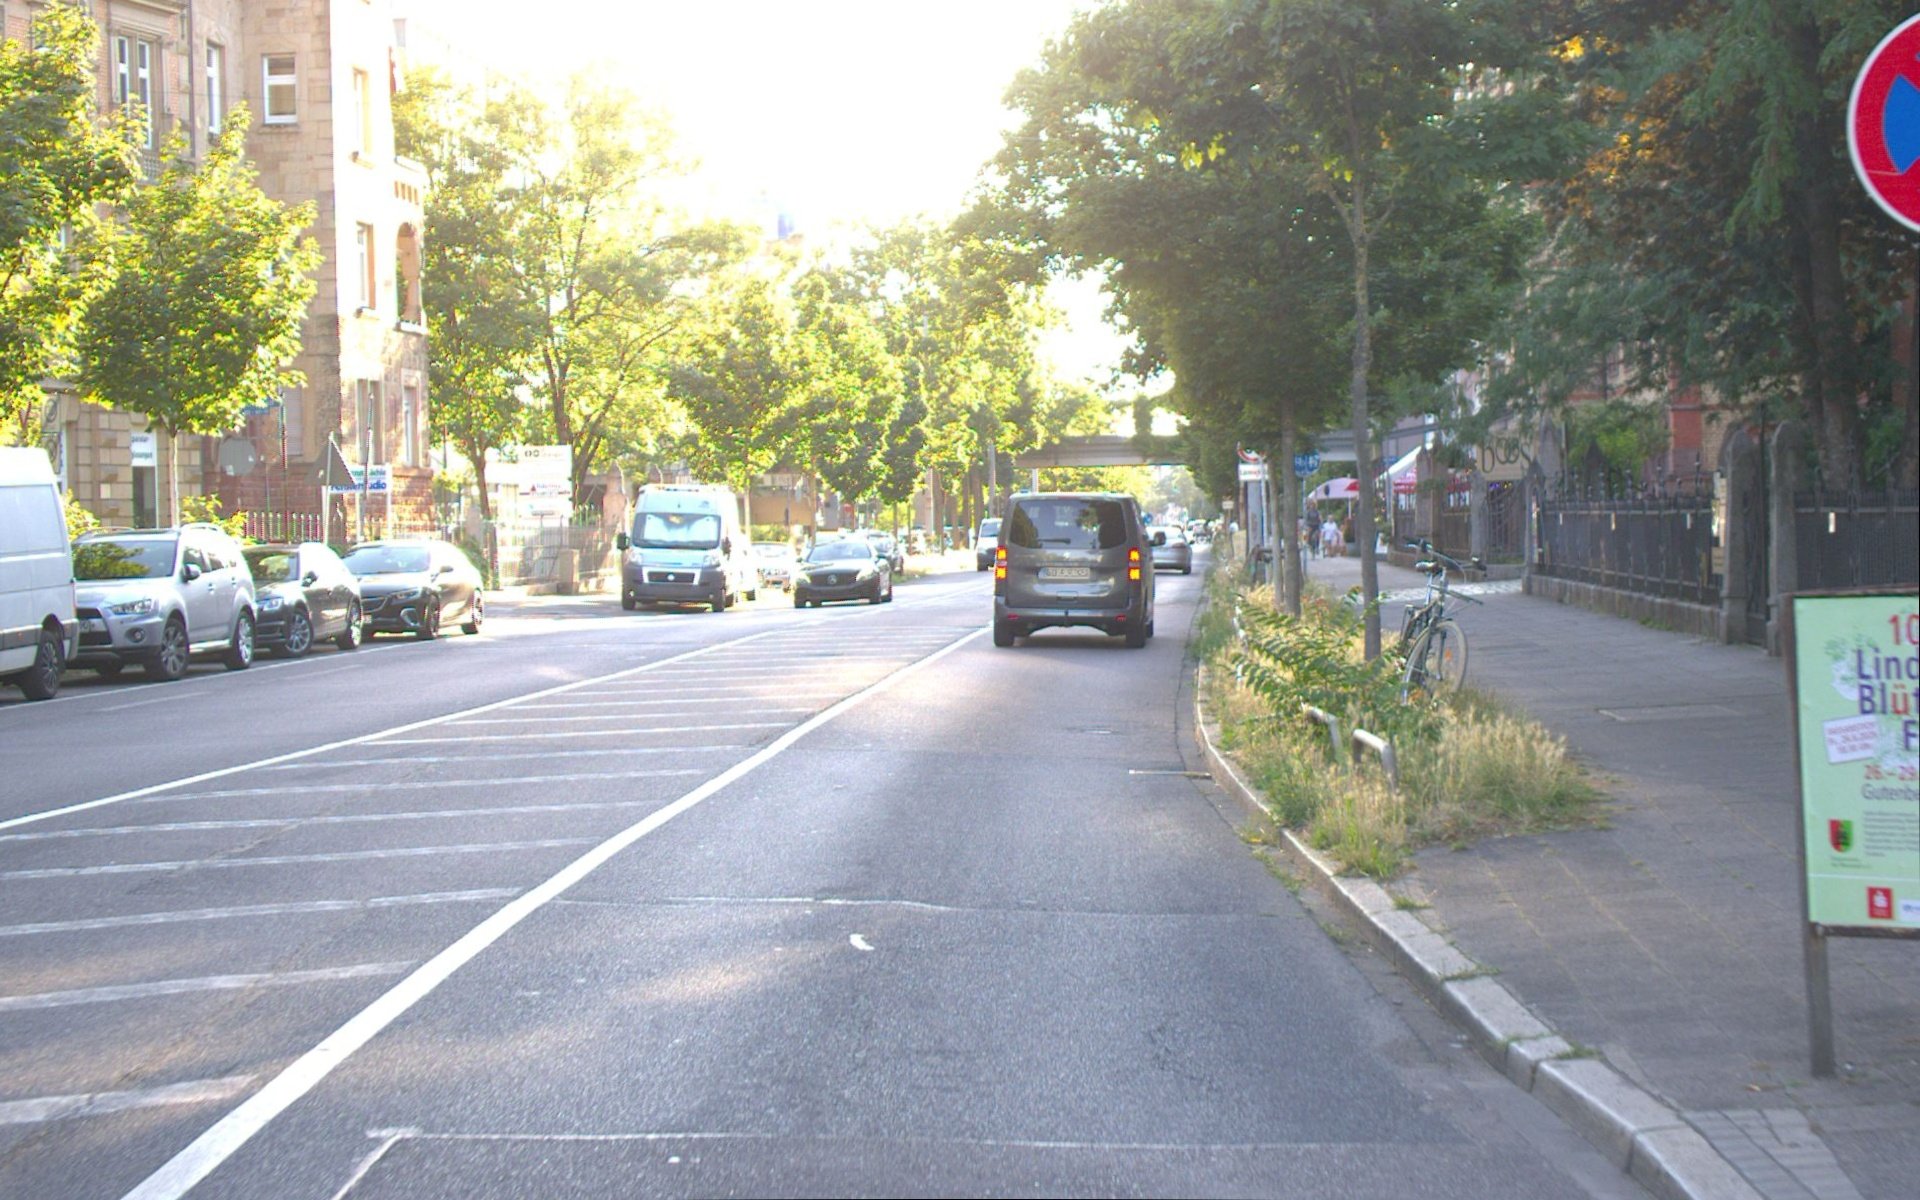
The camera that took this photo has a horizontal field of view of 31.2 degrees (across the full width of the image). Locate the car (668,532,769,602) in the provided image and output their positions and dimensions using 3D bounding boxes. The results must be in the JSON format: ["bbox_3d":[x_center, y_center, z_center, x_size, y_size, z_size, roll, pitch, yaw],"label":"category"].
[{"bbox_3d":[-5.475,-0.774,78.389,1.746,1.529,4.302,1,1,3],"label":"car"}]

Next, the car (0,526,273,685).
[{"bbox_3d":[-9.275,0.014,38.654,1.866,1.639,4.571,-2,1,4],"label":"car"}]

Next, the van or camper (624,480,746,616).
[{"bbox_3d":[-5.631,-1.089,71.149,1.993,2.659,6.039,1,1,0],"label":"van or camper"}]

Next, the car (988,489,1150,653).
[{"bbox_3d":[1.415,-0.395,43.194,1.887,1.918,3.839,-1,1,4],"label":"car"}]

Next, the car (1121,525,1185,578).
[{"bbox_3d":[6.200,-1.564,110.436,1.994,1.628,4.000,-1,1,3],"label":"car"}]

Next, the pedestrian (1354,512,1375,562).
[{"bbox_3d":[13.255,-2.075,112.621,0.644,1.627,0.656,1,1,5],"label":"pedestrian"}]

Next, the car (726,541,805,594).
[{"bbox_3d":[-4.808,-0.816,85.431,1.536,1.244,3.614,1,1,3],"label":"car"}]

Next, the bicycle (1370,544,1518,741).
[{"bbox_3d":[3.028,0.242,21.666,0.646,1.163,1.931,1,1,0],"label":"bicycle"}]

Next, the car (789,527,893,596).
[{"bbox_3d":[-2.515,-0.839,73.723,1.766,1.397,4.544,-1,1,4],"label":"car"}]

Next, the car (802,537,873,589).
[{"bbox_3d":[-3.566,-1.102,100.778,1.697,1.446,4.000,1,1,3],"label":"car"}]

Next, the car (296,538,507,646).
[{"bbox_3d":[-8.166,-0.154,50.709,1.994,1.478,4.829,-1,1,4],"label":"car"}]

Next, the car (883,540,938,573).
[{"bbox_3d":[-2.174,-1.941,151.907,1.994,1.409,4.236,1,1,4],"label":"car"}]

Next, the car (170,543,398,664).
[{"bbox_3d":[-8.687,0.002,44.533,1.736,1.440,4.625,-1,1,4],"label":"car"}]

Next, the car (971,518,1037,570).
[{"bbox_3d":[1.657,-2.097,127.347,1.994,1.825,5.169,-2,1,5],"label":"car"}]

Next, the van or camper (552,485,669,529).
[{"bbox_3d":[-20.710,-5.523,203.893,6.563,2.513,2.449,1,1,3],"label":"van or camper"}]

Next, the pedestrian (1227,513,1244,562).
[{"bbox_3d":[10.705,-2.431,133.514,0.504,1.882,0.545,1,1,-10],"label":"pedestrian"}]

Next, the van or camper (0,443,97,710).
[{"bbox_3d":[-9.940,-0.182,31.456,2.091,2.460,6.305,-2,1,3],"label":"van or camper"}]
